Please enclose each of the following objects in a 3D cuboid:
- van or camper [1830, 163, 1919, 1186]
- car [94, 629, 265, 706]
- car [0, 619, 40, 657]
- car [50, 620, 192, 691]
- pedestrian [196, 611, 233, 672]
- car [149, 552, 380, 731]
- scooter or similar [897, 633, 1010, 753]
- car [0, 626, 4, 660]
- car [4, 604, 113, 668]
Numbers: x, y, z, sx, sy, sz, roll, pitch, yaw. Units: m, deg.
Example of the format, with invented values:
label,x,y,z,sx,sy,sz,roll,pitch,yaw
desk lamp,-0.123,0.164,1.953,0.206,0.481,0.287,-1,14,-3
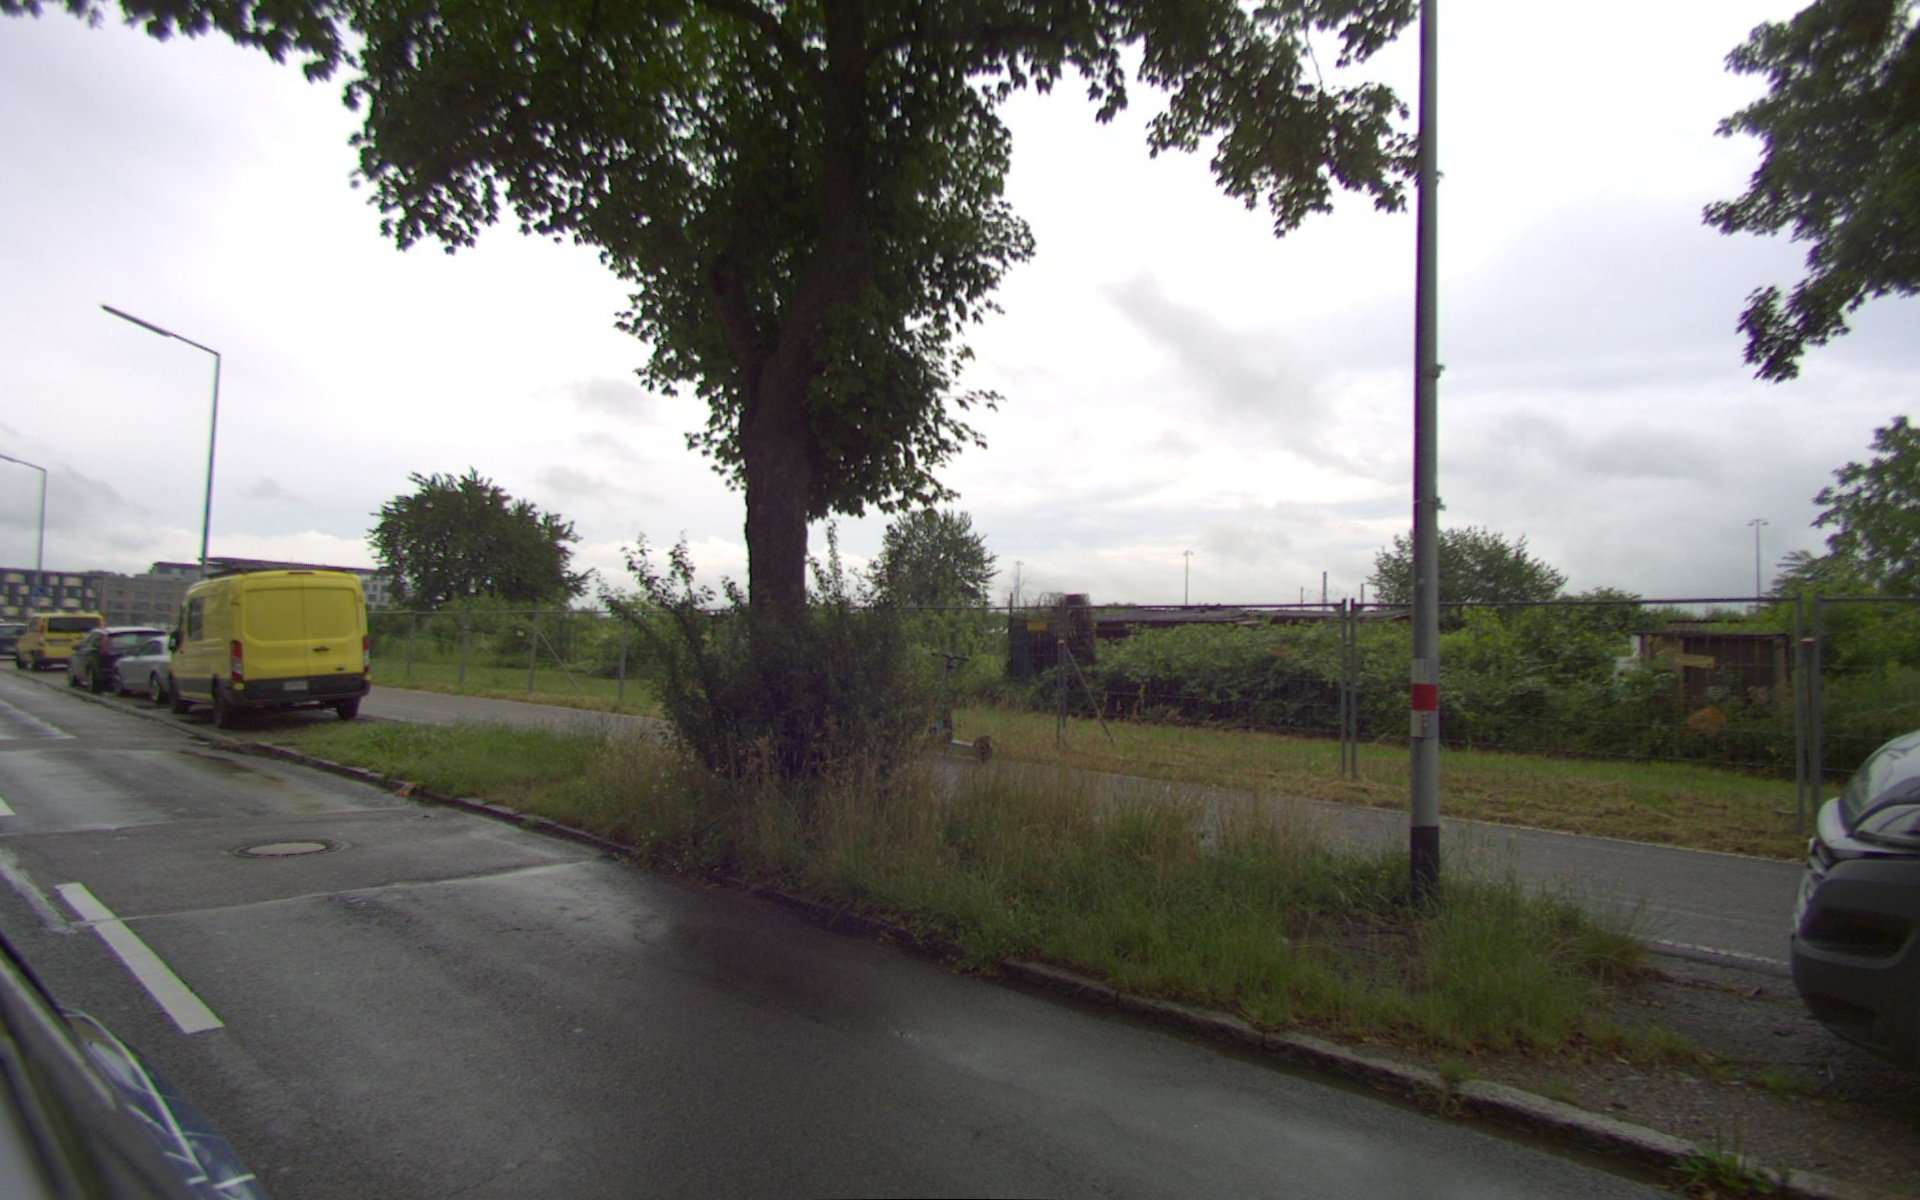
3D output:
label,x,y,z,sx,sy,sz,roll,pitch,yaw
van or camper,5.899,0.217,1.894,6.420,3.118,2.073,-1,-2,41
car,-17.367,1.396,22.414,5.337,1.445,1.989,-1,-1,41
car,-40.110,1.589,42.476,4.031,1.573,1.784,-2,-2,42
car,-21.470,1.344,25.824,5.014,1.606,1.973,-1,-2,41
pedestrian,-25.181,1.404,34.176,0.980,2.029,0.734,-2,-4,42
car,-12.699,0.697,18.276,6.082,2.715,2.167,-1,-2,43
scooter or similar,-0.093,1.089,12.168,1.411,1.350,0.430,-1,-5,42
car,-52.766,2.238,54.237,4.331,1.781,1.918,-2,-5,44
car,-30.507,1.190,34.175,6.063,1.971,1.996,-1,-3,42
